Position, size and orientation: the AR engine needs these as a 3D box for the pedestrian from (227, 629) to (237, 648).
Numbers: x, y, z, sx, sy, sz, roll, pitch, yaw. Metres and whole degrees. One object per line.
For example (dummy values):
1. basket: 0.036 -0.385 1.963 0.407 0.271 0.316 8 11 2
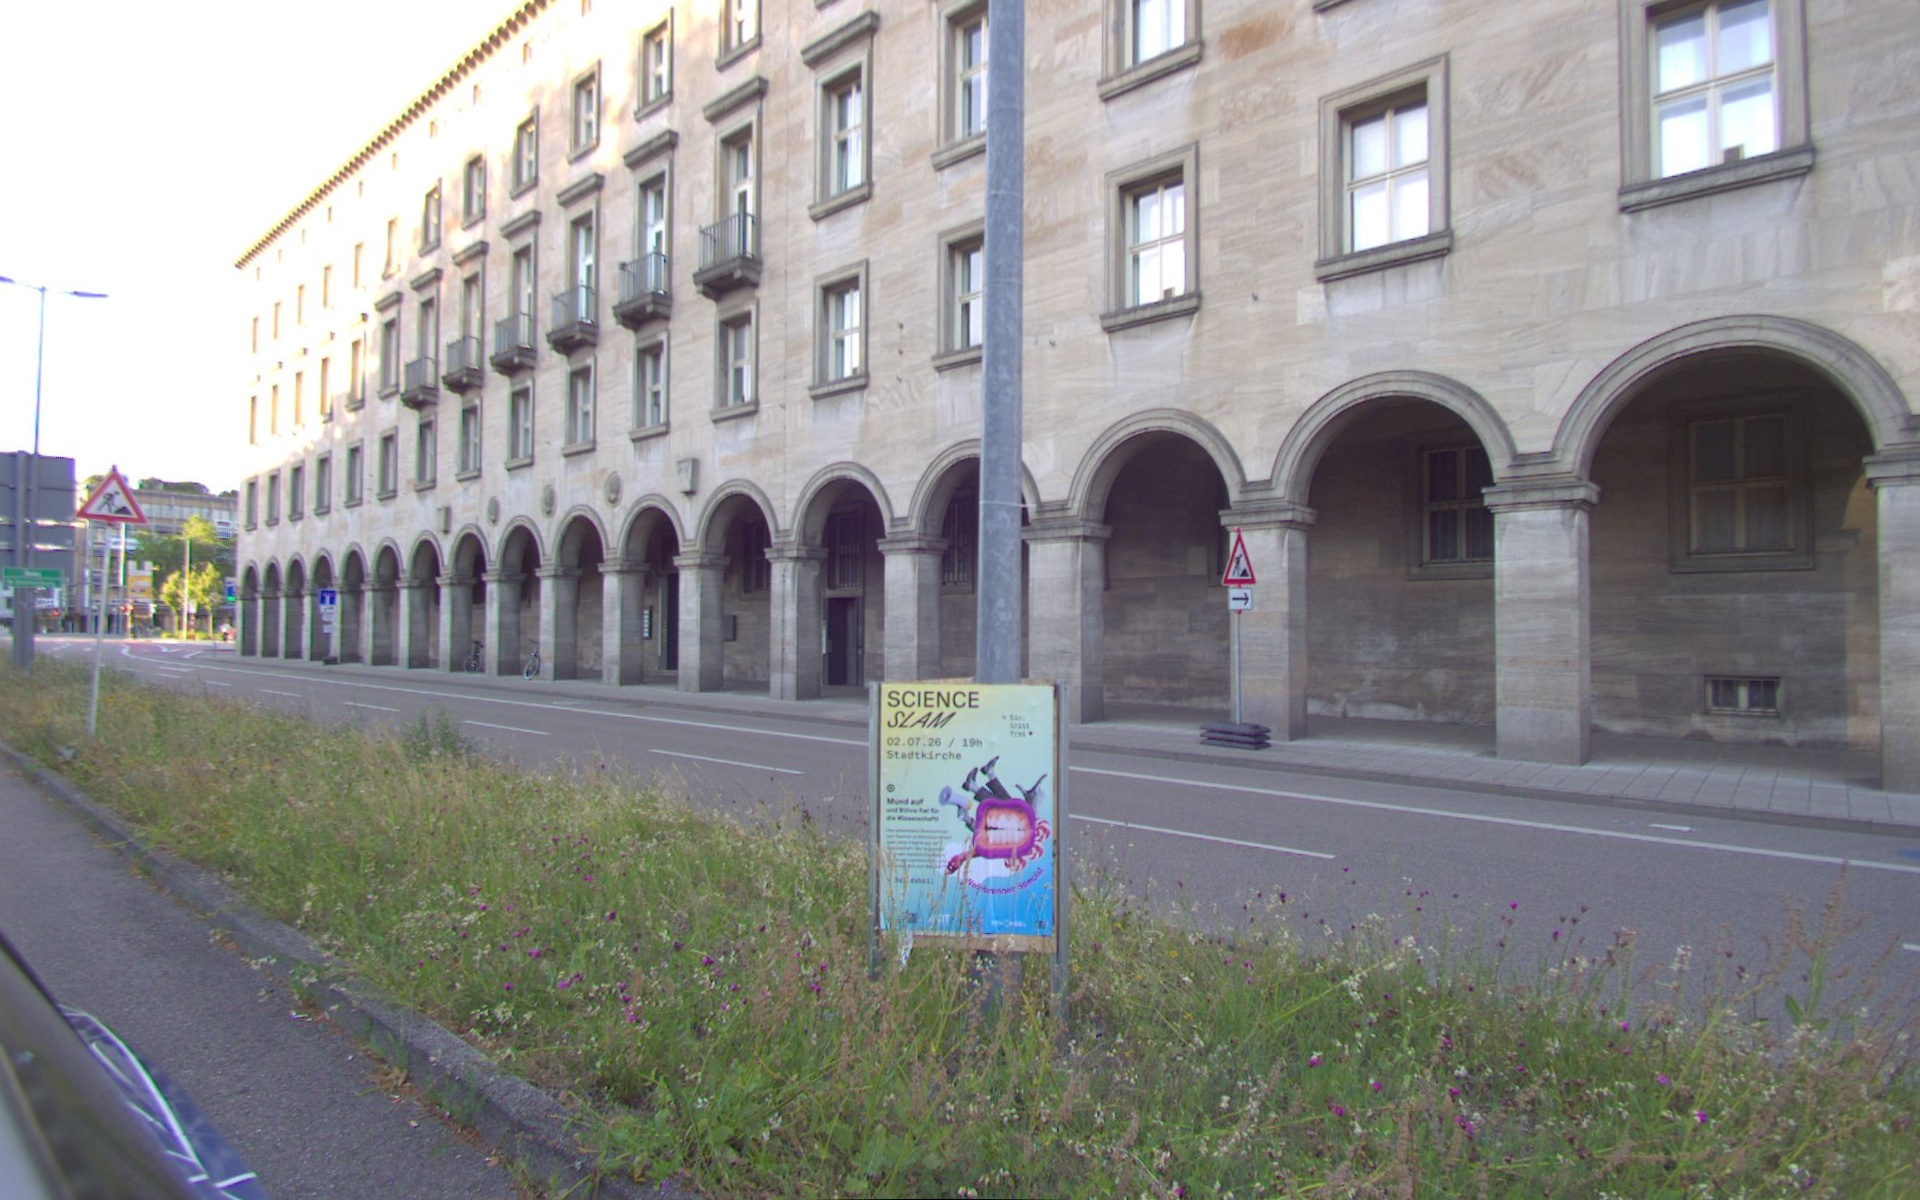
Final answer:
1. pedestrian: -57.471 3.043 79.872 0.389 1.553 0.519 -2 -3 41

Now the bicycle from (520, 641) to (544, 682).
1. bicycle: -12.877 1.839 30.505 0.505 1.130 2.431 1 -1 -20

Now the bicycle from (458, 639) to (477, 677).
1. bicycle: -16.162 1.879 33.218 0.505 1.188 2.431 1 -2 -25
